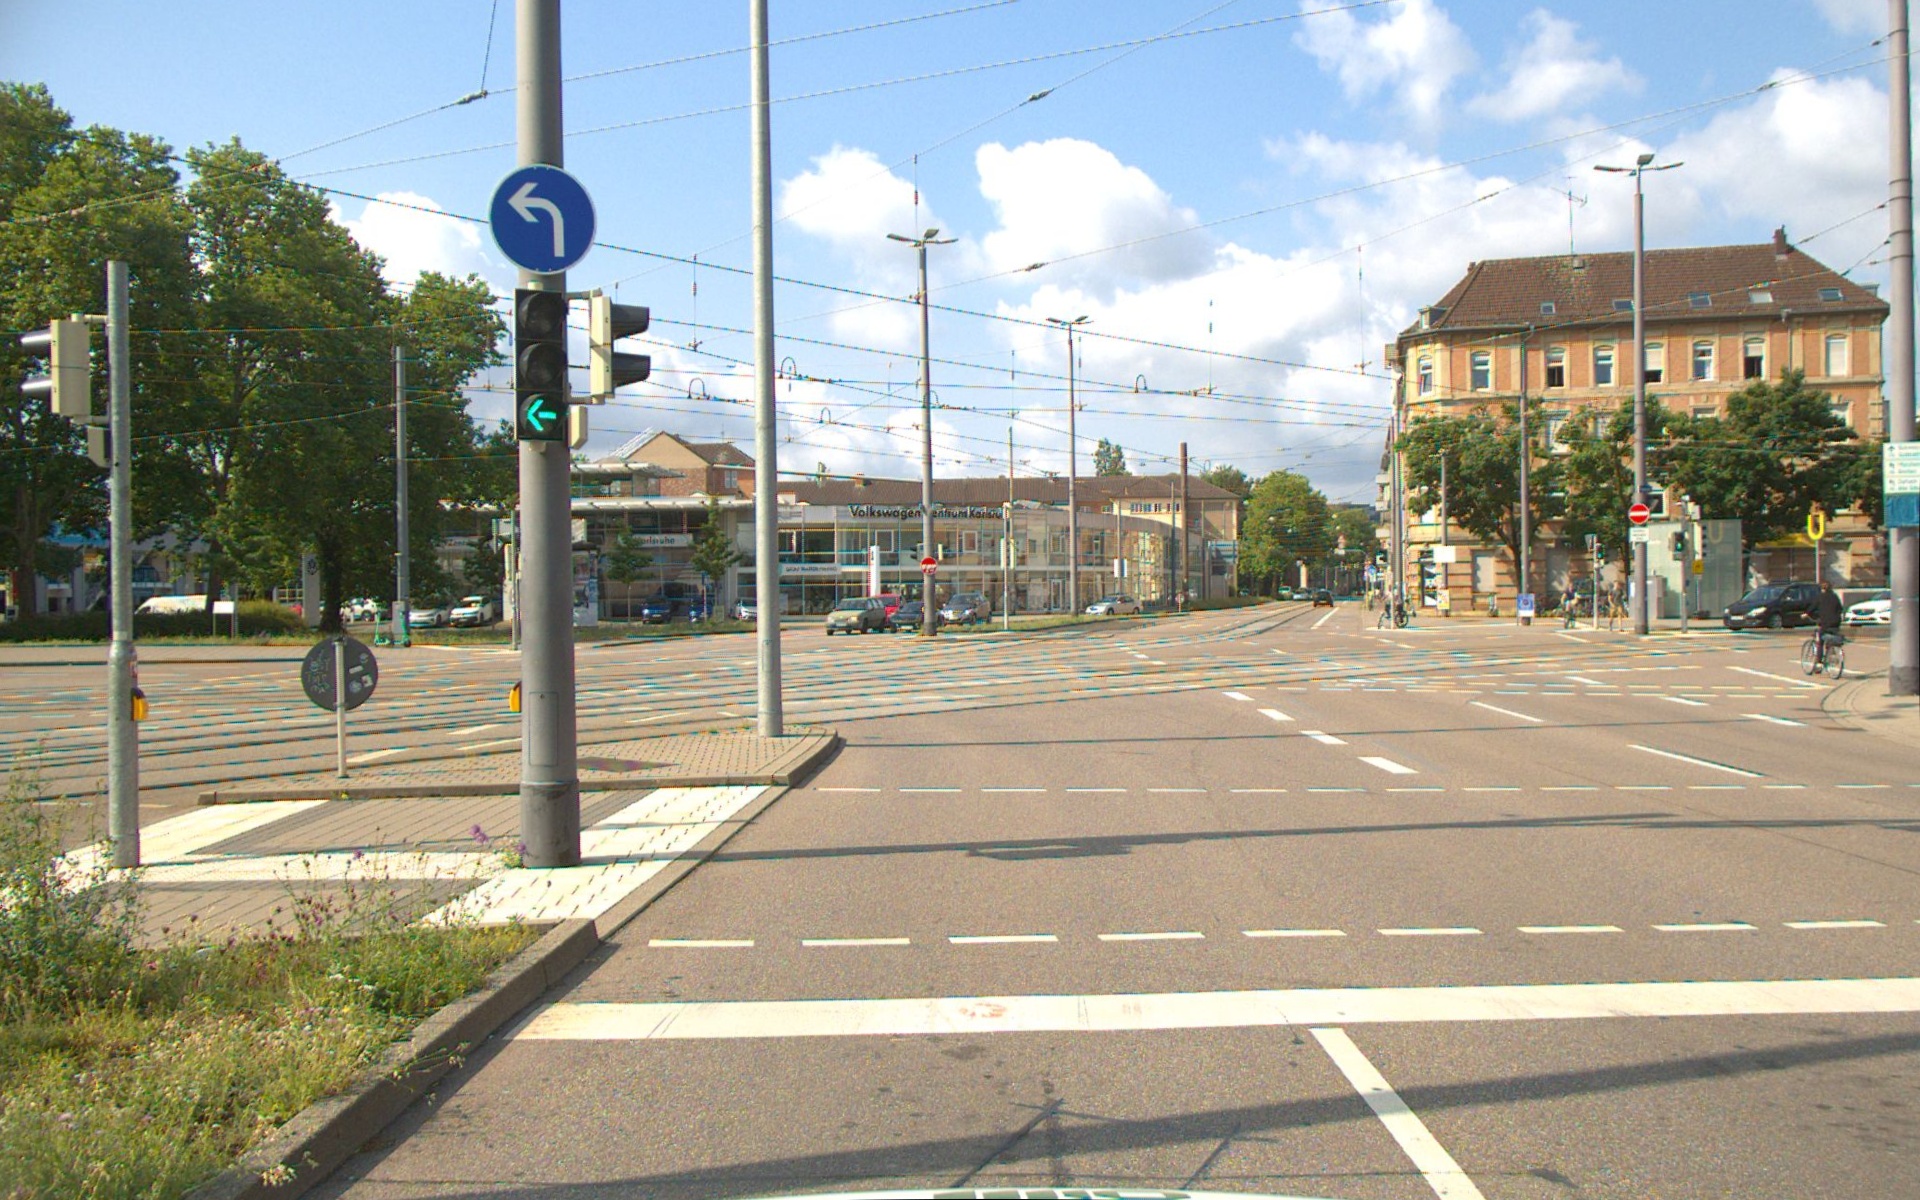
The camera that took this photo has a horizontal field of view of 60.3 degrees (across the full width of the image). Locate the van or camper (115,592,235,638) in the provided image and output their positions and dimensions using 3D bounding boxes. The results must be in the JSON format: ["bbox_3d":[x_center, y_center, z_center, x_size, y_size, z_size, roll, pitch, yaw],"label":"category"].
[{"bbox_3d":[-45.221,0.872,95.372,5.754,2.512,2.394,1,0,3],"label":"van or camper"}]

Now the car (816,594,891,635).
[{"bbox_3d":[-4.205,0.573,65.754,1.782,1.539,4.003,1,0,15],"label":"car"}]

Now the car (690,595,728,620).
[{"bbox_3d":[-15.420,0.431,101.794,1.881,1.470,3.997,-1,0,-3],"label":"car"}]

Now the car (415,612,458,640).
[{"bbox_3d":[-32.557,1.594,102.952,1.957,1.601,3.992,1,0,-9],"label":"car"}]

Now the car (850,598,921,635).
[{"bbox_3d":[-3.215,0.700,72.074,1.951,1.545,4.003,1,0,15],"label":"car"}]

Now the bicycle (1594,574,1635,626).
[{"bbox_3d":[23.545,0.000,59.554,0.715,1.808,1.636,-1,0,-4],"label":"bicycle"}]

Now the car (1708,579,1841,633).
[{"bbox_3d":[27.988,0.201,56.830,4.277,1.770,1.982,1,0,-28],"label":"car"}]

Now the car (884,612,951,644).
[{"bbox_3d":[-1.635,1.073,65.528,1.587,1.182,4.003,1,0,15],"label":"car"}]

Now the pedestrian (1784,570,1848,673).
[{"bbox_3d":[15.856,0.388,30.660,0.972,1.873,0.995,1,0,25],"label":"pedestrian"}]

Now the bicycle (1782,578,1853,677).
[{"bbox_3d":[15.872,0.495,30.663,0.985,1.755,2.467,1,0,24],"label":"bicycle"}]

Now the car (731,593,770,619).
[{"bbox_3d":[-13.109,0.334,103.825,1.880,1.579,4.000,-1,0,1],"label":"car"}]

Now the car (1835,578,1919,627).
[{"bbox_3d":[33.986,0.077,59.751,4.616,1.623,1.982,-2,1,-28],"label":"car"}]

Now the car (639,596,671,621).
[{"bbox_3d":[-18.810,0.512,101.960,1.885,1.470,3.990,-1,0,-10],"label":"car"}]

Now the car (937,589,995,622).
[{"bbox_3d":[0.326,0.257,82.326,1.951,1.579,4.003,-1,0,14],"label":"car"}]

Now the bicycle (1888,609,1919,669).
[{"bbox_3d":[17.429,0.676,28.583,0.973,1.045,3.108,2,-2,-1],"label":"bicycle"}]

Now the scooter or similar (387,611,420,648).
[{"bbox_3d":[-18.367,0.965,54.582,0.374,1.177,0.927,5,1,33],"label":"scooter or similar"}]

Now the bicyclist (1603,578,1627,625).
[{"bbox_3d":[23.546,0.049,59.469,0.561,1.700,0.655,-1,0,-4],"label":"bicyclist"}]

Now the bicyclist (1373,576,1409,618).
[{"bbox_3d":[17.386,-0.132,66.753,1.171,1.687,0.784,-1,0,-8],"label":"bicyclist"}]

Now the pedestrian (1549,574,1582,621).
[{"bbox_3d":[23.595,-0.096,64.495,0.850,1.841,0.884,1,0,-13],"label":"pedestrian"}]

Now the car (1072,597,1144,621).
[{"bbox_3d":[9.548,0.565,106.520,4.420,1.489,1.764,1,0,-31],"label":"car"}]

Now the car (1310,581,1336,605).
[{"bbox_3d":[32.243,-0.640,146.895,1.951,2.049,4.002,-1,0,17],"label":"car"}]

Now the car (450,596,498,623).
[{"bbox_3d":[-30.144,0.559,102.662,2.027,1.632,3.996,-1,0,-5],"label":"car"}]

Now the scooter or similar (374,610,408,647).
[{"bbox_3d":[-18.880,0.956,54.853,0.375,1.177,0.923,5,1,45],"label":"scooter or similar"}]

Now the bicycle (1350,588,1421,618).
[{"bbox_3d":[17.157,0.112,66.746,2.621,1.191,0.899,-1,0,-8],"label":"bicycle"}]
